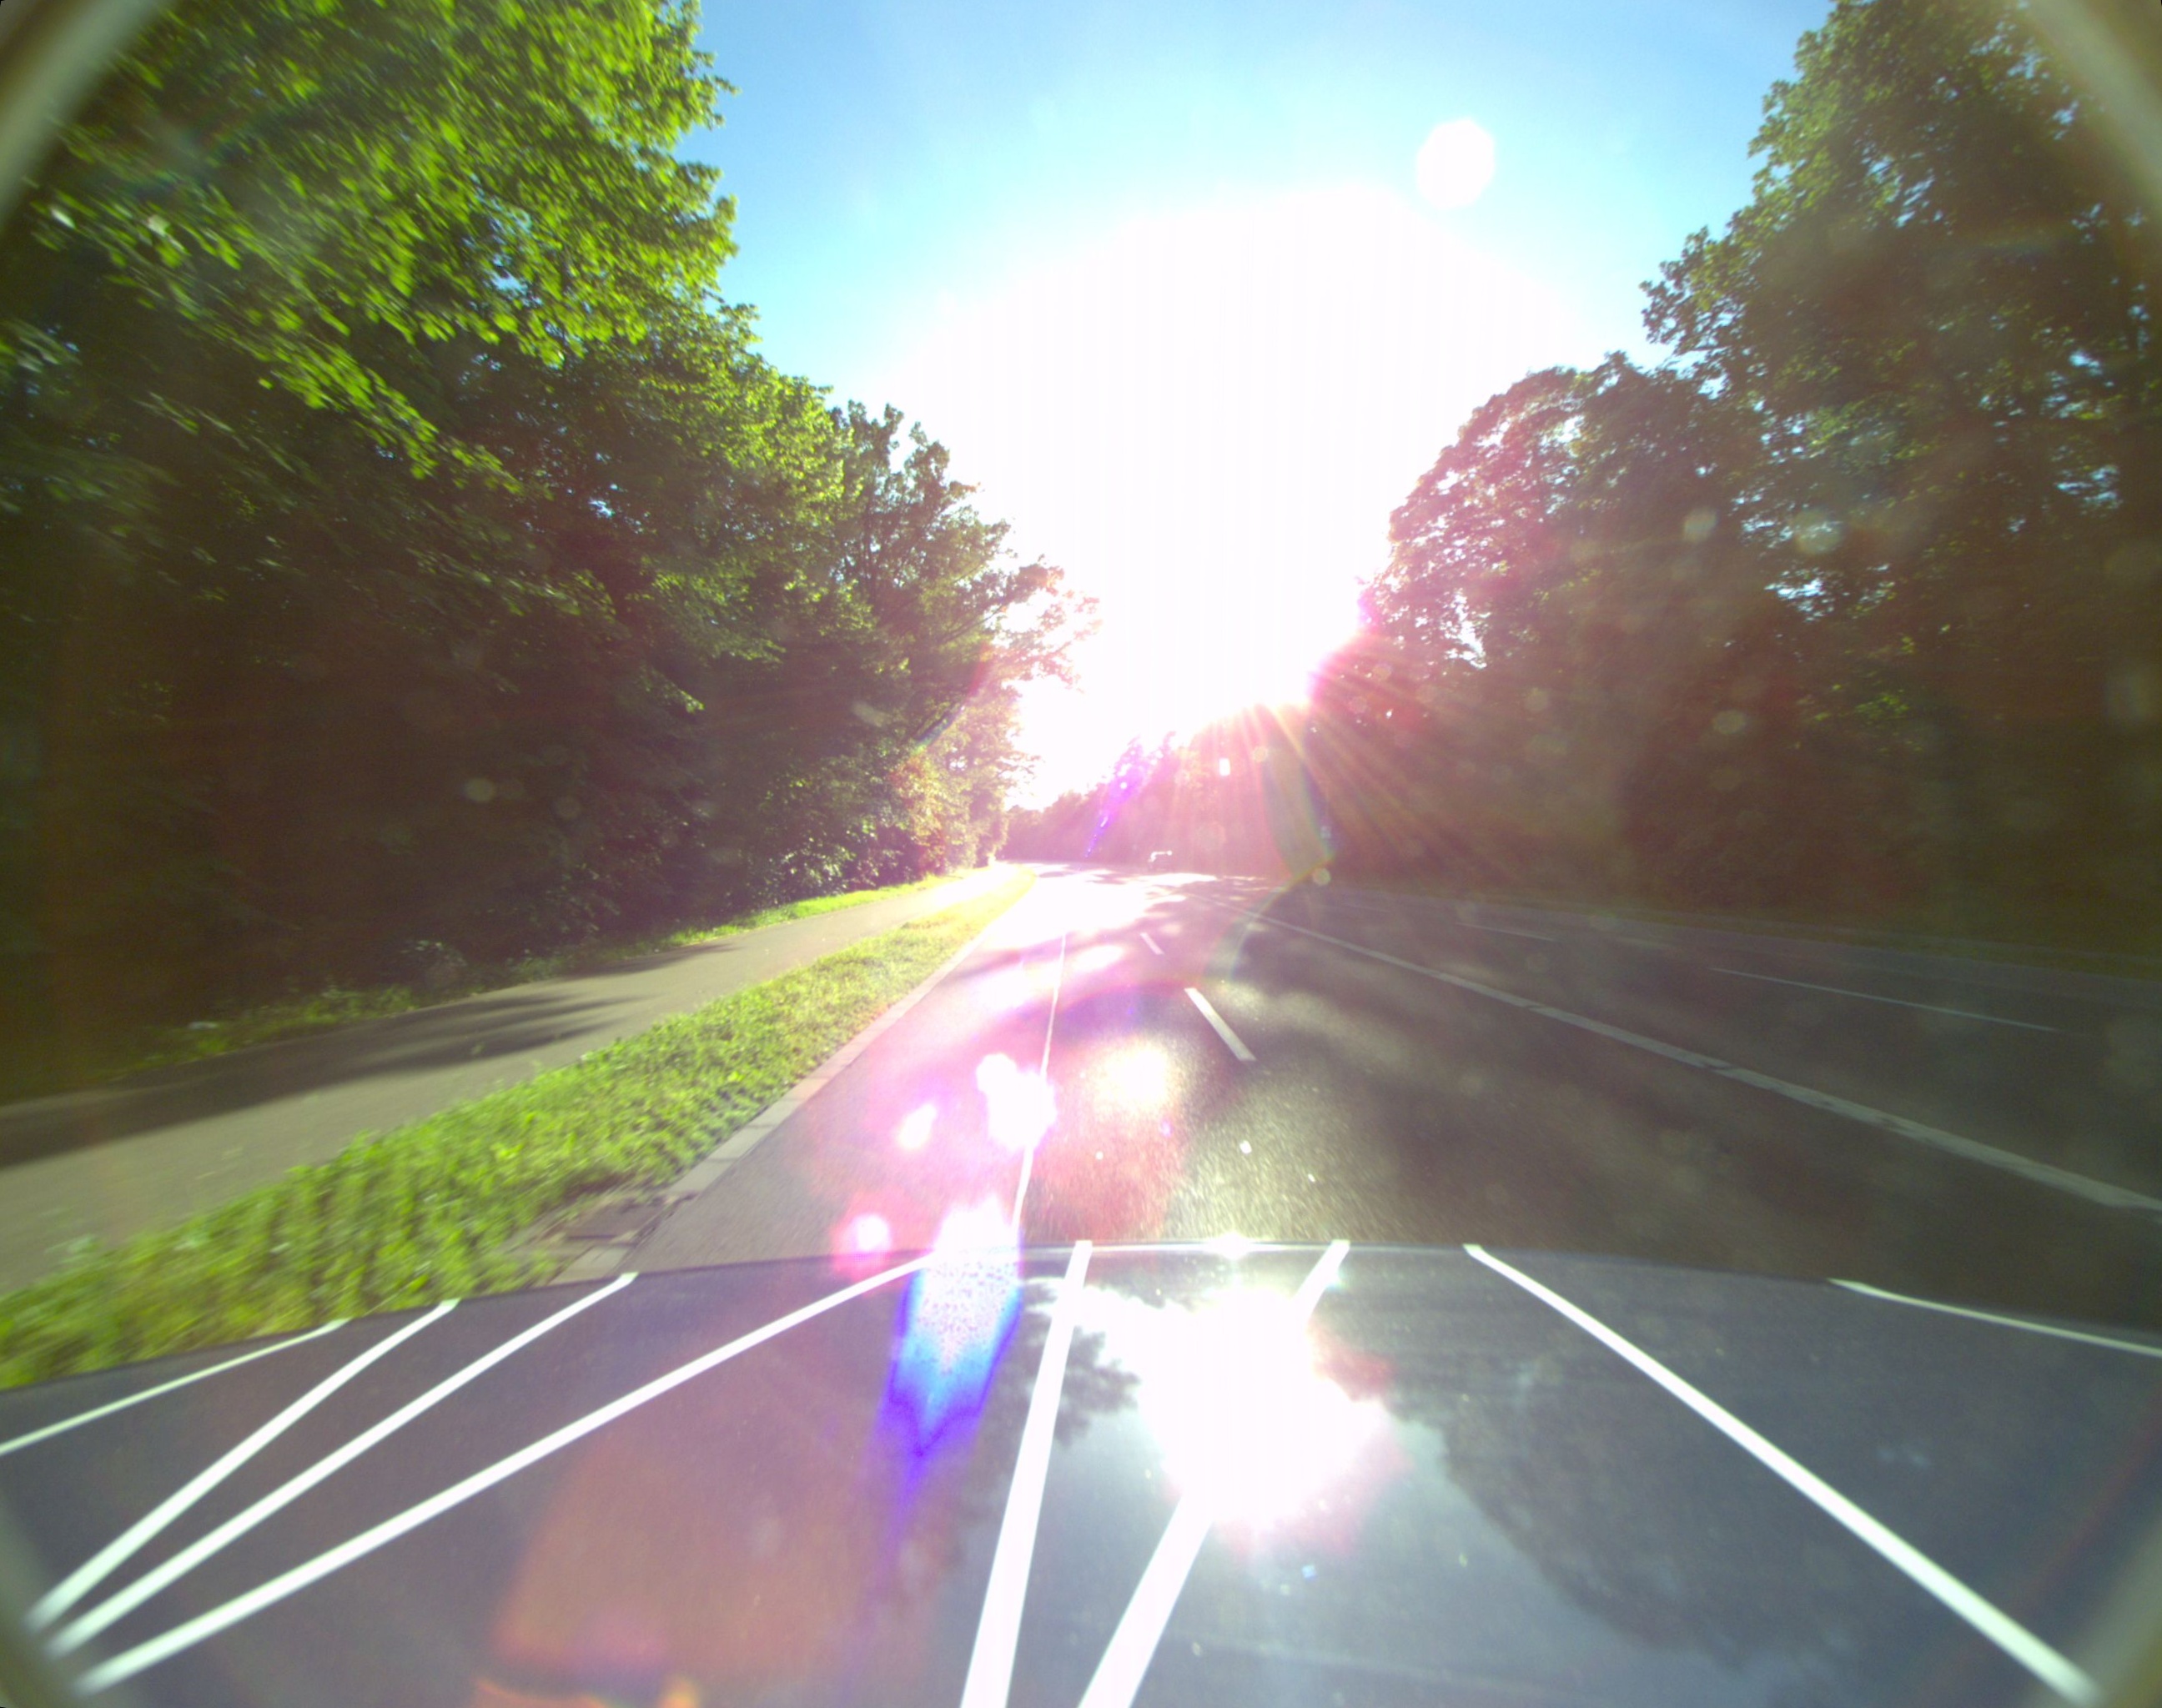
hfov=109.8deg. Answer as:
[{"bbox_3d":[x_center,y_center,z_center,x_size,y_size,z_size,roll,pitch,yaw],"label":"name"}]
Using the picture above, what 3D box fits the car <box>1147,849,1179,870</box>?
[{"bbox_3d":[6.783,0.439,63.485,1.813,1.653,4.519,-1,0,-5],"label":"car"}]
